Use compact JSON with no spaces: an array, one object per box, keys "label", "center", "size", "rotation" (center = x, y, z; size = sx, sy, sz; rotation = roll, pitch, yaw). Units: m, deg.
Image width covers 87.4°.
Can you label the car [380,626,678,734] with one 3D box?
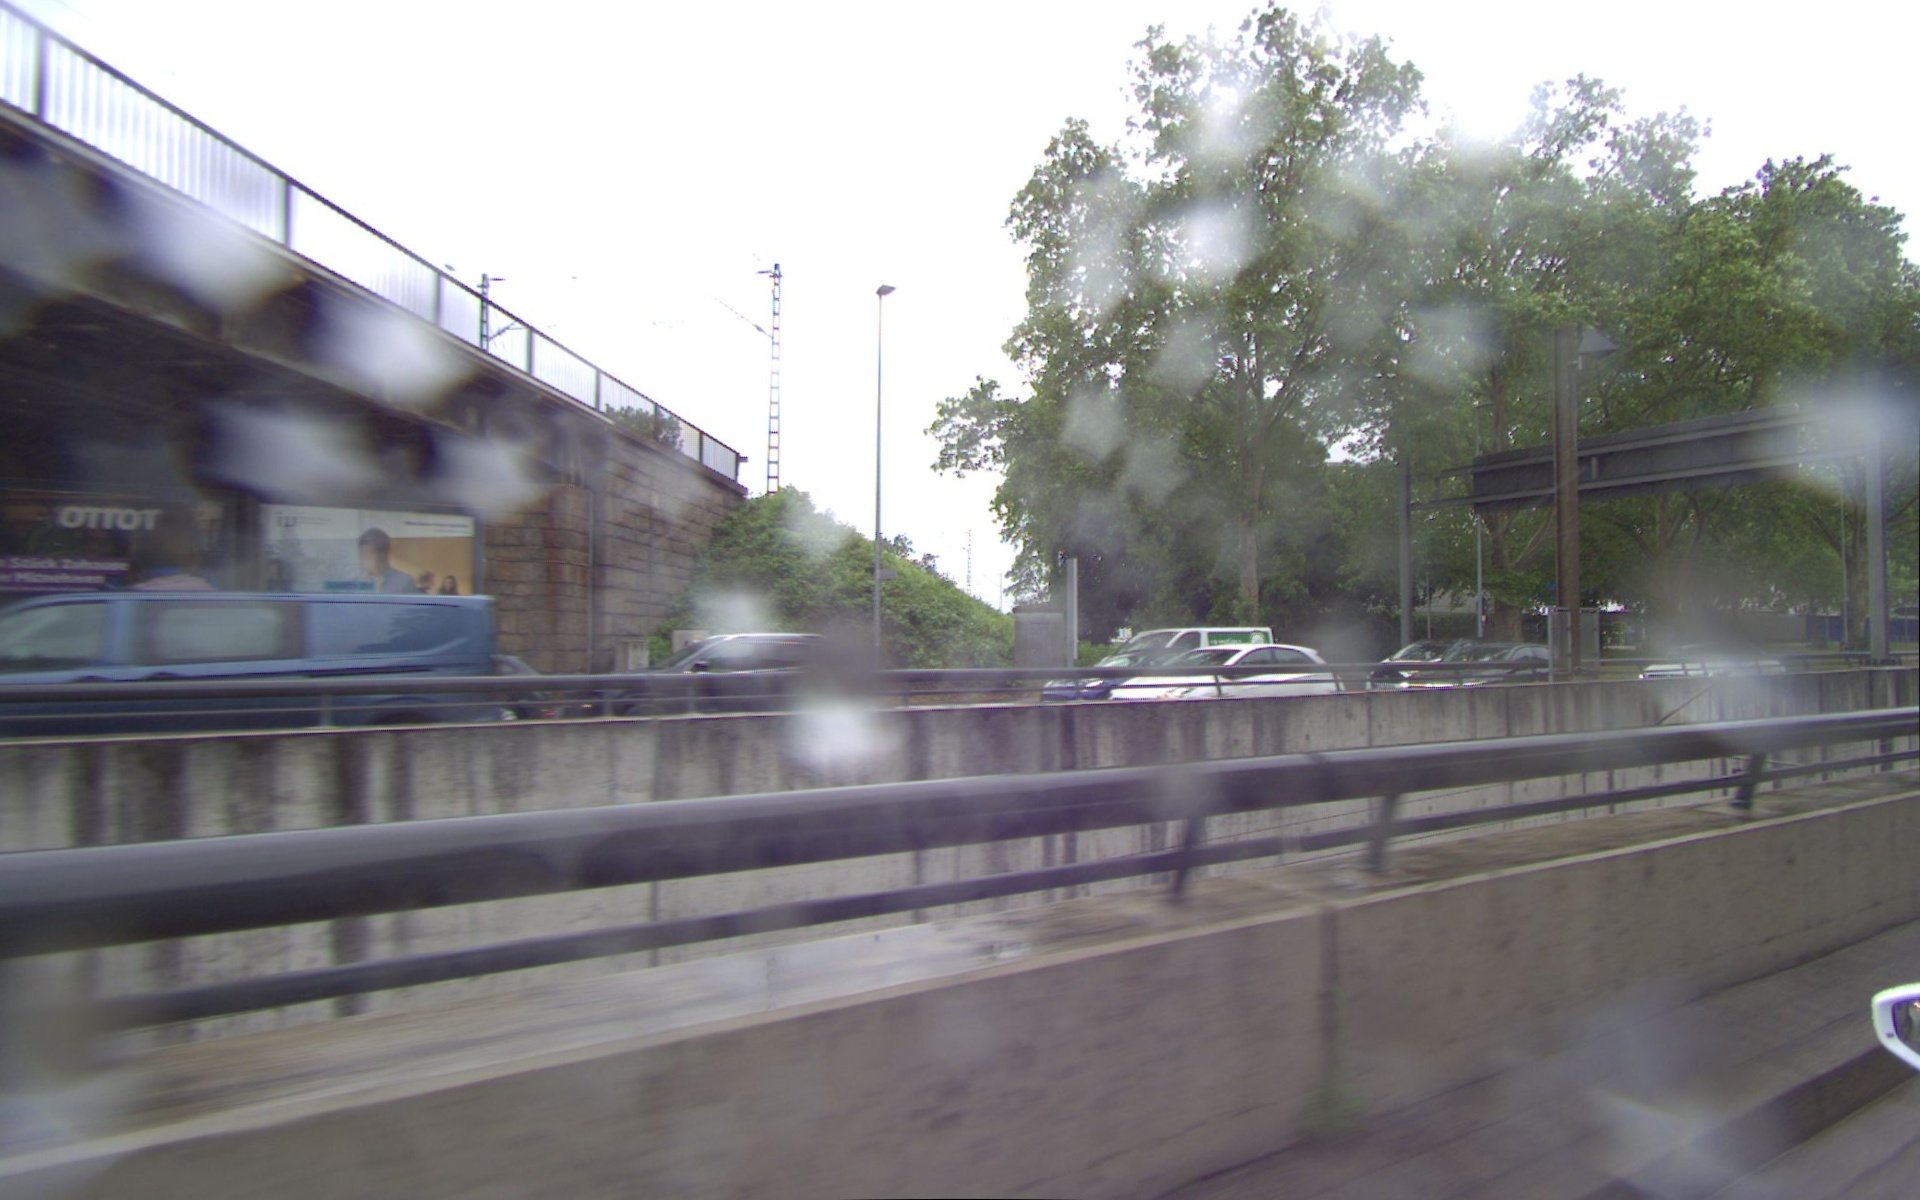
[{"label":"car","center":[-7.097,1.268,16.668],"size":[4.329,1.594,1.857],"rotation":[2,-3,-31]}]

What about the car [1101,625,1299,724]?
[{"label":"car","center":[5.879,1.755,24.434],"size":[4.789,2.198,1.746],"rotation":[1,-3,-29]}]

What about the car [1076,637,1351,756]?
[{"label":"car","center":[4.047,1.437,15.964],"size":[4.041,1.653,1.984],"rotation":[2,-3,-31]}]

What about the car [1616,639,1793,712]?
[{"label":"car","center":[18.451,1.810,24.852],"size":[4.529,1.653,1.983],"rotation":[2,-3,-32]}]

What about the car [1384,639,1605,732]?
[{"label":"car","center":[10.513,1.597,19.742],"size":[4.039,1.653,1.985],"rotation":[1,-3,-29]}]

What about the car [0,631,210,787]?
[{"label":"car","center":[-10.968,1.127,10.713],"size":[4.498,1.594,1.970],"rotation":[2,-3,-31]}]

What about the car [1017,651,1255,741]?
[{"label":"car","center":[3.522,1.814,19.923],"size":[4.498,1.594,1.970],"rotation":[2,-3,-31]}]

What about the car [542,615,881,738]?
[{"label":"car","center":[-3.660,1.086,15.010],"size":[4.557,1.594,1.970],"rotation":[2,-3,-31]}]

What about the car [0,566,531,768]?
[{"label":"car","center":[-7.101,0.599,9.401],"size":[5.475,1.594,1.970],"rotation":[2,-3,-30]}]

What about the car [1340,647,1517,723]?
[{"label":"car","center":[11.206,1.959,23.983],"size":[4.039,1.653,1.839],"rotation":[1,-3,-29]}]
